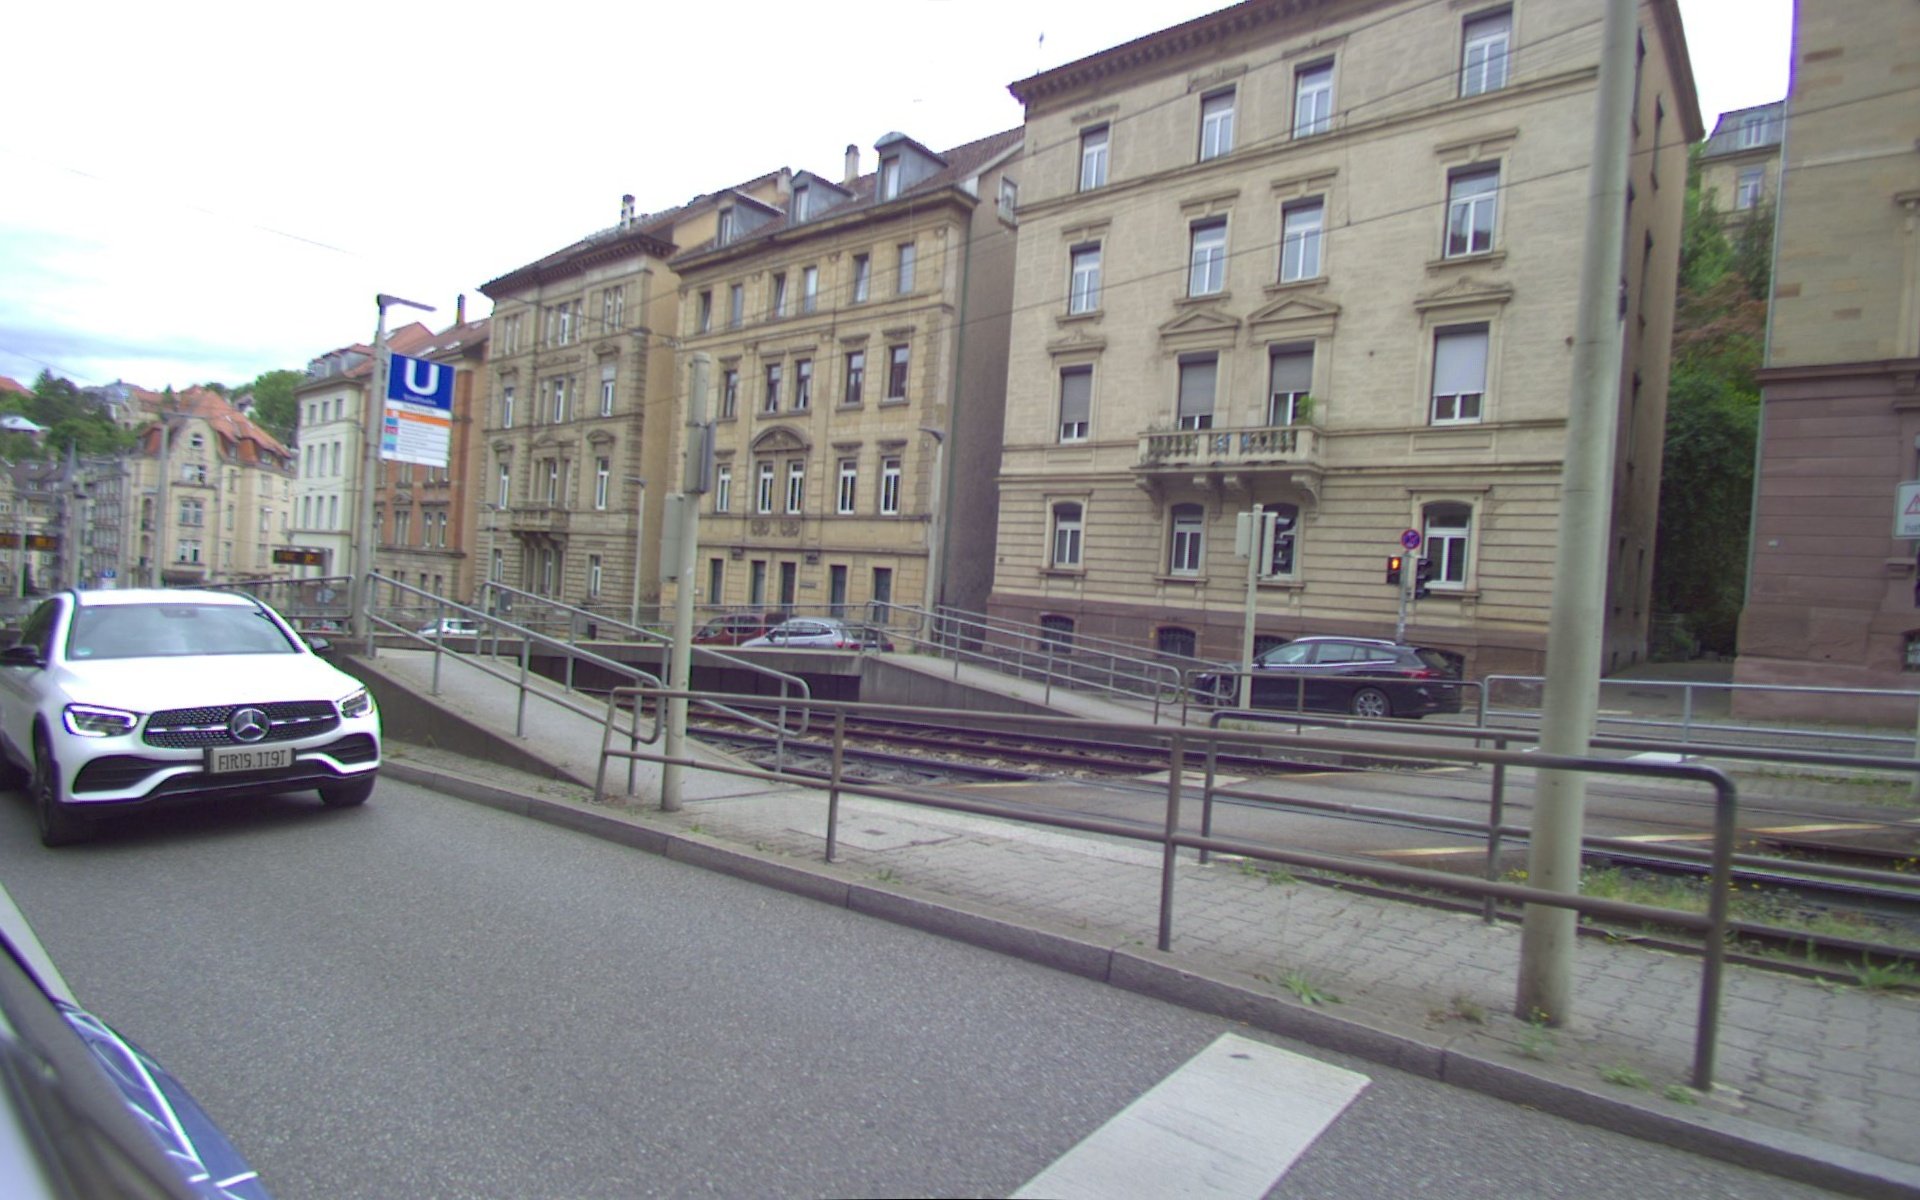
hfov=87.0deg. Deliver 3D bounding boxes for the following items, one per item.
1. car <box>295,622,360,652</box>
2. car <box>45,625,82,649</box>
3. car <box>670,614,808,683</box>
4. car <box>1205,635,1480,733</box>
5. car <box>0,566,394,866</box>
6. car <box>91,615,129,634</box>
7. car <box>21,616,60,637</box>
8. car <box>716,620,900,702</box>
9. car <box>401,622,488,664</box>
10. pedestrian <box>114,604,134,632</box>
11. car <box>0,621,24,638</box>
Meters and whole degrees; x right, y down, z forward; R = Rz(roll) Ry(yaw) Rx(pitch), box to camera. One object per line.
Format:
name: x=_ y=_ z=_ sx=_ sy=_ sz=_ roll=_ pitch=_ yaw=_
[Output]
car: x=-33.960 y=1.993 z=54.325 sx=3.998 sy=1.540 sz=1.858 roll=-1 pitch=-4 yaw=41
car: x=-87.696 y=3.620 z=98.969 sx=5.452 sy=2.322 sz=1.973 roll=-1 pitch=-3 yaw=41
car: x=-6.554 y=1.384 z=29.812 sx=4.136 sy=1.874 sz=1.829 roll=-1 pitch=-3 yaw=41
car: x=6.605 y=1.395 z=17.762 sx=4.217 sy=1.458 sz=1.660 roll=-1 pitch=-4 yaw=42
car: x=-6.311 y=0.663 z=7.897 sx=4.668 sy=1.679 sz=1.817 roll=0 pitch=-1 yaw=41
car: x=-75.481 y=2.181 z=89.861 sx=4.411 sy=1.658 sz=1.843 roll=-1 pitch=-3 yaw=40
car: x=-84.000 y=2.406 z=92.403 sx=4.411 sy=1.909 sz=1.973 roll=-1 pitch=-3 yaw=40
car: x=-3.628 y=1.360 z=23.660 sx=4.575 sy=1.749 sz=1.691 roll=-1 pitch=-3 yaw=42
car: x=-22.163 y=1.823 z=43.465 sx=3.998 sy=1.692 sz=1.916 roll=-1 pitch=-4 yaw=41
pedestrian: x=-51.286 y=1.092 z=62.064 sx=0.843 sy=1.701 sz=0.757 roll=-2 pitch=-3 yaw=41
car: x=-100.827 y=3.111 z=107.401 sx=3.864 sy=1.778 sz=1.803 roll=-1 pitch=-3 yaw=43
